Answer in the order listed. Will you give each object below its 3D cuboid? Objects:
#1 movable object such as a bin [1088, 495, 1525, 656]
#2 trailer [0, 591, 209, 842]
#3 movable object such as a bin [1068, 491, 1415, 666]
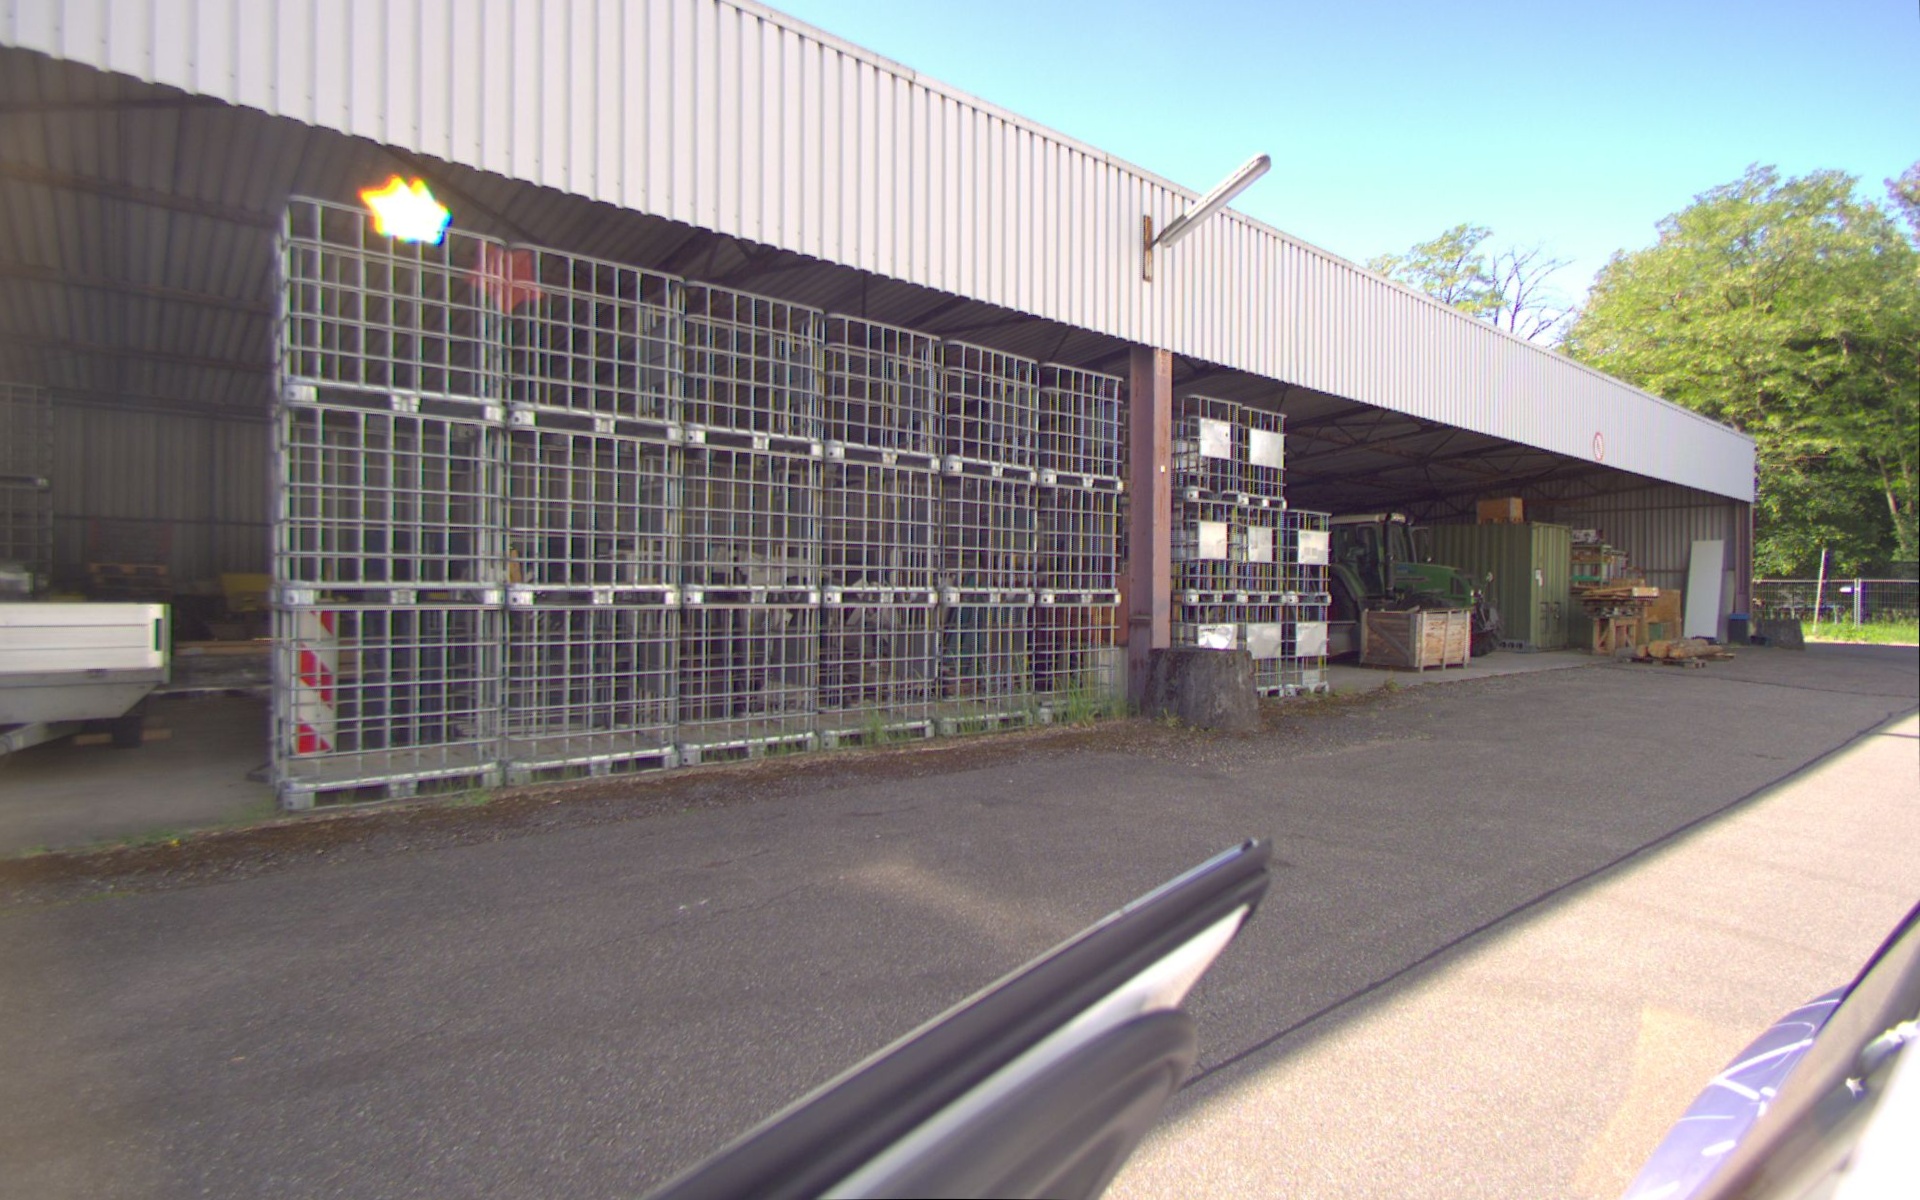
[{"bbox_3d":[7.363,-0.488,23.126,3.154,2.947,9.213,0,0,-39],"label":"movable object such as a bin"},{"bbox_3d":[-6.756,0.547,6.934,2.104,1.147,5.857,0,1,-41],"label":"trailer"},{"bbox_3d":[5.426,-0.398,20.378,2.962,2.947,6.199,0,0,-39],"label":"movable object such as a bin"}]
